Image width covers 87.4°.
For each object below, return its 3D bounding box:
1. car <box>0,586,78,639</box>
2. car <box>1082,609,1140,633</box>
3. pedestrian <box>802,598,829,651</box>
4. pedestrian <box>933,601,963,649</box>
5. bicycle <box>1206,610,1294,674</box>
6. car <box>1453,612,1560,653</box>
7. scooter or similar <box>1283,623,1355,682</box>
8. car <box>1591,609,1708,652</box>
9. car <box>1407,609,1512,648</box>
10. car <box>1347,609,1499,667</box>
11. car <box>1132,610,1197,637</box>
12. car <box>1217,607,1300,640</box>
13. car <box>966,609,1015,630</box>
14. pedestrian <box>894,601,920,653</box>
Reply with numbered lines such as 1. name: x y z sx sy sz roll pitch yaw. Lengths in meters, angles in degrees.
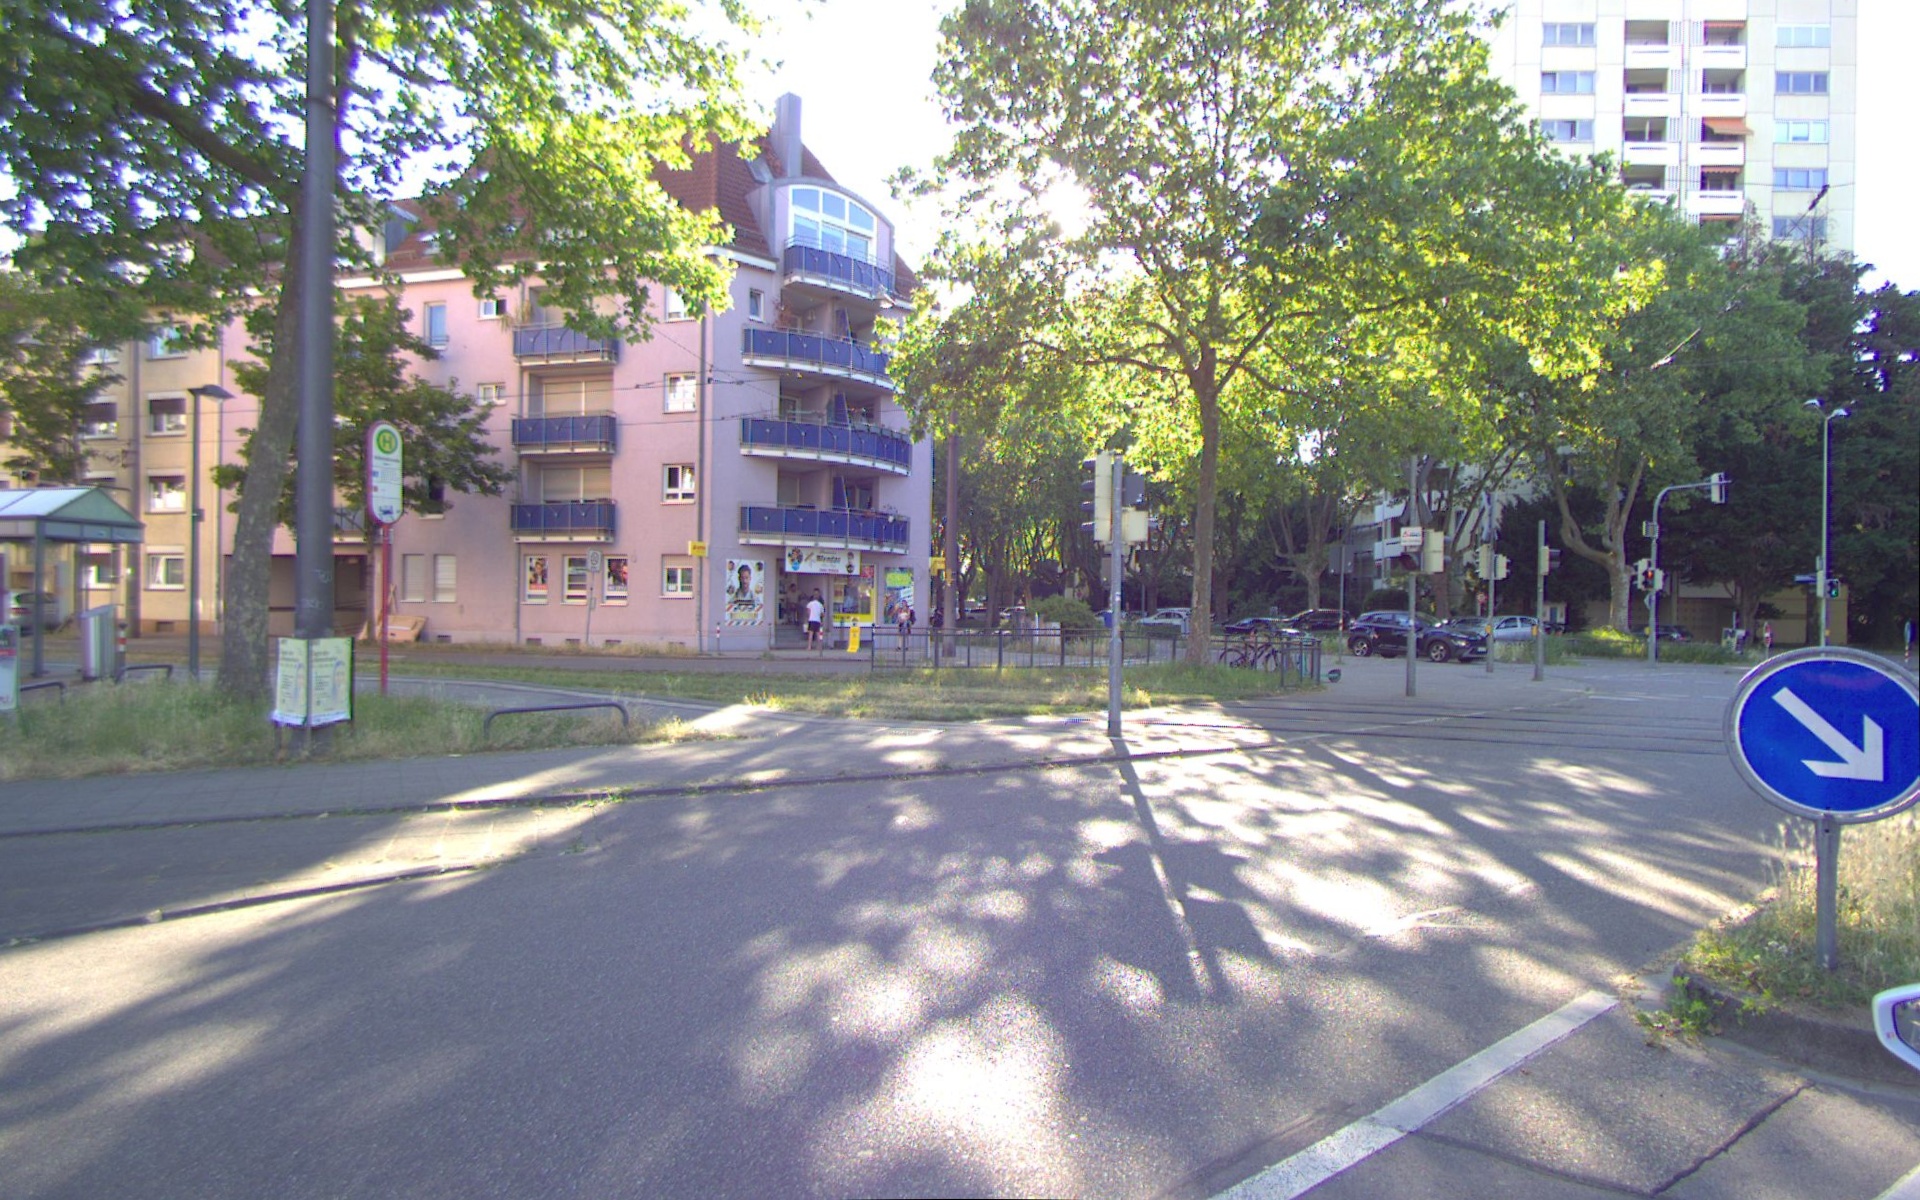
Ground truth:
1. car: -33.470 0.397 35.223 4.029 1.728 1.940 2 0 16
2. car: 11.094 1.531 73.901 3.921 1.617 1.738 2 0 0
3. pedestrian: -4.697 0.802 32.697 0.610 1.689 0.549 2 0 38
4. pedestrian: -0.421 0.907 36.197 0.907 1.689 0.620 2 0 15
5. bicycle: 6.408 0.905 22.249 1.811 1.324 0.382 2 0 34
6. car: 23.891 1.395 43.986 3.732 1.617 1.738 2 0 0
7. scooter or similar: 7.931 1.152 22.208 1.412 1.255 0.414 2 0 9
8. car: 31.631 1.363 46.205 1.971 1.798 3.979 2 0 -22
9. car: 22.850 1.303 46.036 3.921 1.617 1.738 2 0 0
10. car: 14.375 1.143 31.378 1.722 1.617 3.959 2 0 -36
11. car: 13.412 1.559 65.987 3.921 1.617 1.738 2 0 0
12. car: 15.922 1.246 53.685 3.921 1.617 1.738 2 0 0
13. car: 2.618 1.679 86.370 3.919 1.617 1.739 2 0 9
14. pedestrian: -1.769 0.877 33.327 0.542 1.689 0.618 2 0 36
